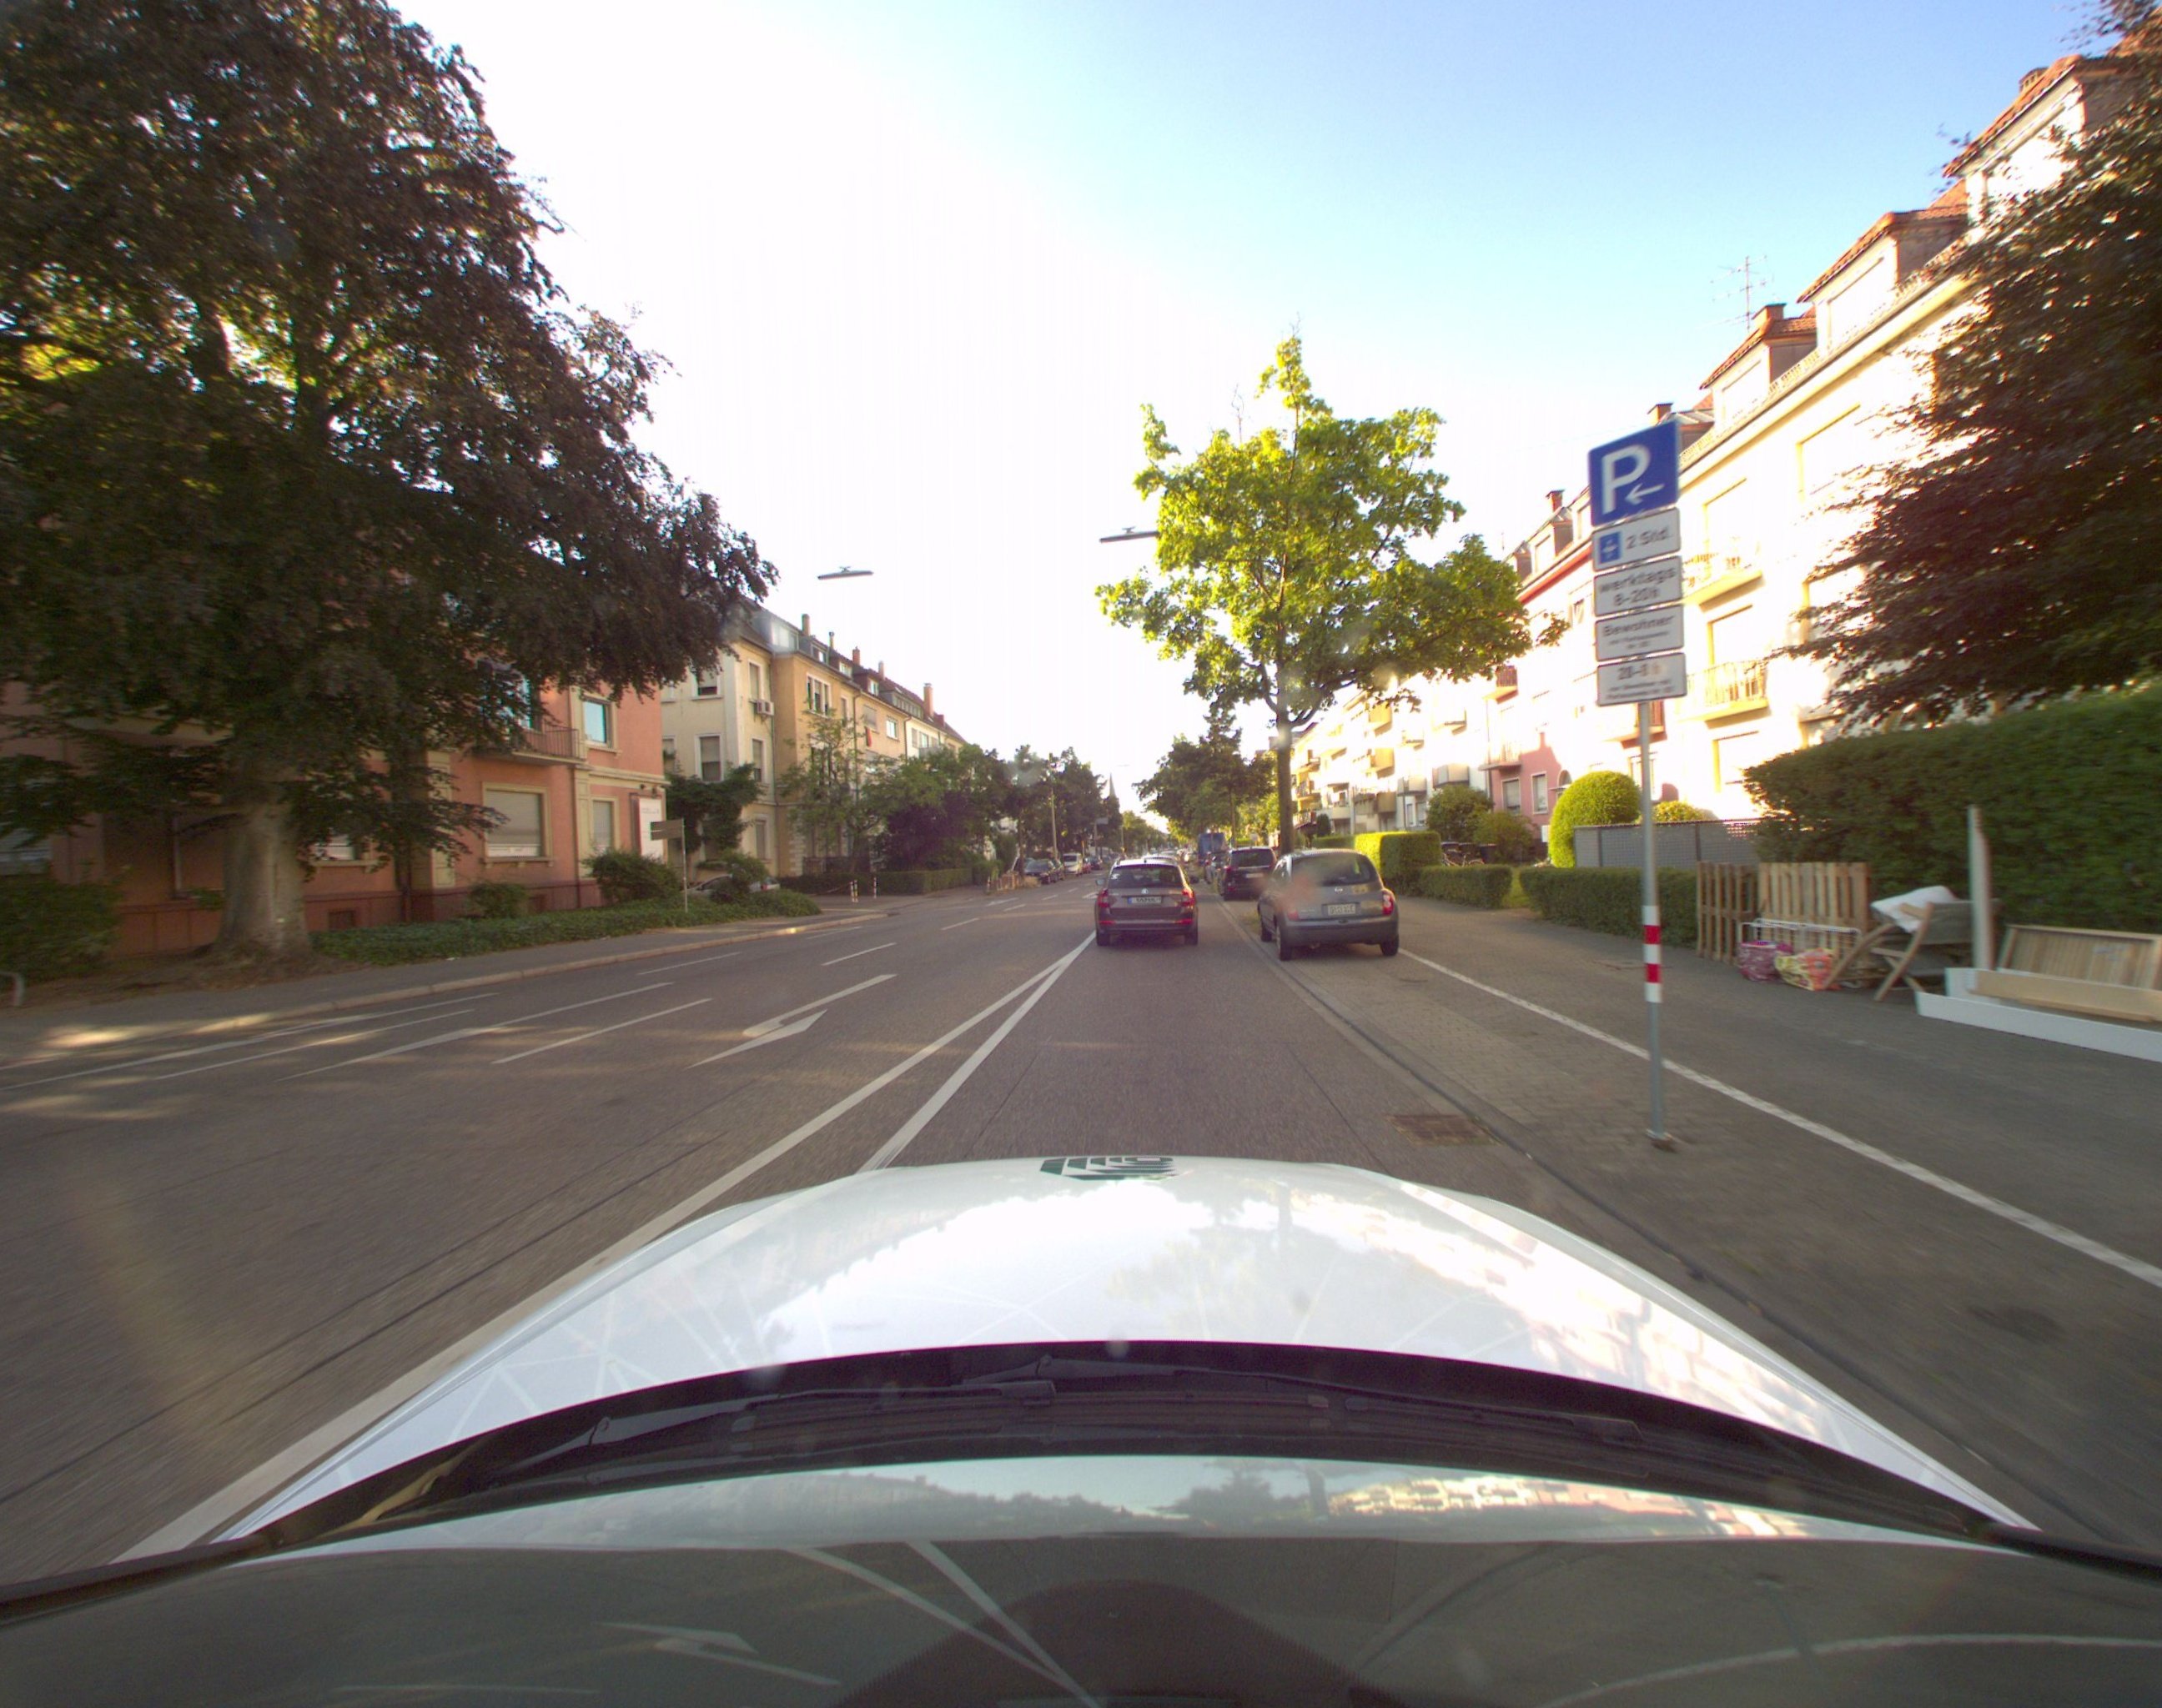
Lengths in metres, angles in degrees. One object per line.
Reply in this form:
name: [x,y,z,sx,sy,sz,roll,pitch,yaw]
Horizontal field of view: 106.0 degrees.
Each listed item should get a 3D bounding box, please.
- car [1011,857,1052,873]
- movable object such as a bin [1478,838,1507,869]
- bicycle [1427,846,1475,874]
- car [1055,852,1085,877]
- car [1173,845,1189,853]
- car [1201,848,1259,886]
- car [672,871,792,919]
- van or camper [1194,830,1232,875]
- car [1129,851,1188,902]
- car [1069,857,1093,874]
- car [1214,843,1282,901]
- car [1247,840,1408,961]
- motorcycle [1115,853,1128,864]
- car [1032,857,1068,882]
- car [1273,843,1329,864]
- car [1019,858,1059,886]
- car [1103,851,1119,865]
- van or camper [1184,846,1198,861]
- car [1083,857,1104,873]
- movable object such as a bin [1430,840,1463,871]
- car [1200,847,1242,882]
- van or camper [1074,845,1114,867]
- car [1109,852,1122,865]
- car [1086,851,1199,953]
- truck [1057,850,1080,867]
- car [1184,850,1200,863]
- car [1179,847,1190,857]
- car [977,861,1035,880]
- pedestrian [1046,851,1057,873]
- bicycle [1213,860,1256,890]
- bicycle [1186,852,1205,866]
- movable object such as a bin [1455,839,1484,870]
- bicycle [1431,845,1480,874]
car: [-4.999,1.087,82.807,3.971,1.479,2.002,-2,0,2]
movable object such as a bin: [13.778,-0.026,27.283,0.608,1.002,0.798,-3,0,6]
bicycle: [12.107,0.208,26.657,1.352,0.854,0.365,-3,0,6]
car: [-0.833,0.817,66.182,1.760,1.919,4.468,-3,0,7]
car: [24.930,-1.154,202.005,1.858,1.757,4.205,-2,0,41]
car: [6.658,0.535,36.860,1.912,1.486,4.750,-3,0,3]
car: [-12.657,1.460,29.662,3.483,1.486,1.817,-3,0,2]
van or camper: [8.558,-0.076,53.258,2.057,2.675,6.001,-3,-1,7]
car: [2.536,0.694,27.275,1.722,1.493,3.954,-3,0,3]
car: [0.015,1.011,73.296,1.708,1.421,3.793,-3,0,6]
car: [5.310,0.503,26.322,1.723,1.651,4.299,-3,0,6]
car: [3.647,0.610,12.685,1.723,1.551,3.653,-3,0,6]
motorcycle: [6.210,0.706,124.570,0.770,1.512,2.008,-3,0,-36]
car: [-2.077,1.015,55.578,1.741,1.502,3.986,-3,0,6]
car: [17.587,-0.041,65.279,3.970,1.462,1.826,-3,0,3]
car: [-2.560,1.073,50.648,1.741,1.502,4.204,-3,0,6]
car: [4.077,0.496,109.699,1.741,1.740,3.597,-3,0,6]
van or camper: [16.514,-0.079,122.486,1.983,2.013,4.008,-3,0,6]
car: [1.383,1.112,85.246,1.708,1.497,4.256,-3,0,7]
movable object such as a bin: [12.301,0.041,27.402,0.772,1.002,0.798,-3,0,6]
car: [7.265,0.537,42.600,1.764,1.642,3.762,-3,-1,5]
van or camper: [2.512,0.360,161.423,7.605,3.874,2.003,-3,0,4]
car: [4.886,0.620,114.316,1.499,1.757,3.700,-3,0,6]
car: [1.240,0.753,14.782,1.720,1.493,3.960,-3,0,8]
truck: [-1.673,0.607,111.753,2.899,2.093,1.549,-3,0,6]
car: [13.422,0.313,98.442,1.810,1.413,4.121,-3,0,8]
car: [20.089,-0.453,158.162,1.721,1.815,3.956,-3,0,5]
car: [-6.313,1.364,68.697,4.706,1.362,1.995,-3,0,-7]
pedestrian: [-2.713,0.766,75.462,0.763,2.013,0.977,-3,0,6]
bicycle: [5.767,0.789,30.568,1.475,1.059,0.410,-3,0,-7]
bicycle: [11.690,0.516,83.042,1.657,1.226,0.638,-5,0,19]
movable object such as a bin: [13.021,0.008,27.339,0.608,1.002,0.798,-3,0,6]
bicycle: [12.043,0.175,26.205,1.362,0.854,0.369,-3,0,7]
